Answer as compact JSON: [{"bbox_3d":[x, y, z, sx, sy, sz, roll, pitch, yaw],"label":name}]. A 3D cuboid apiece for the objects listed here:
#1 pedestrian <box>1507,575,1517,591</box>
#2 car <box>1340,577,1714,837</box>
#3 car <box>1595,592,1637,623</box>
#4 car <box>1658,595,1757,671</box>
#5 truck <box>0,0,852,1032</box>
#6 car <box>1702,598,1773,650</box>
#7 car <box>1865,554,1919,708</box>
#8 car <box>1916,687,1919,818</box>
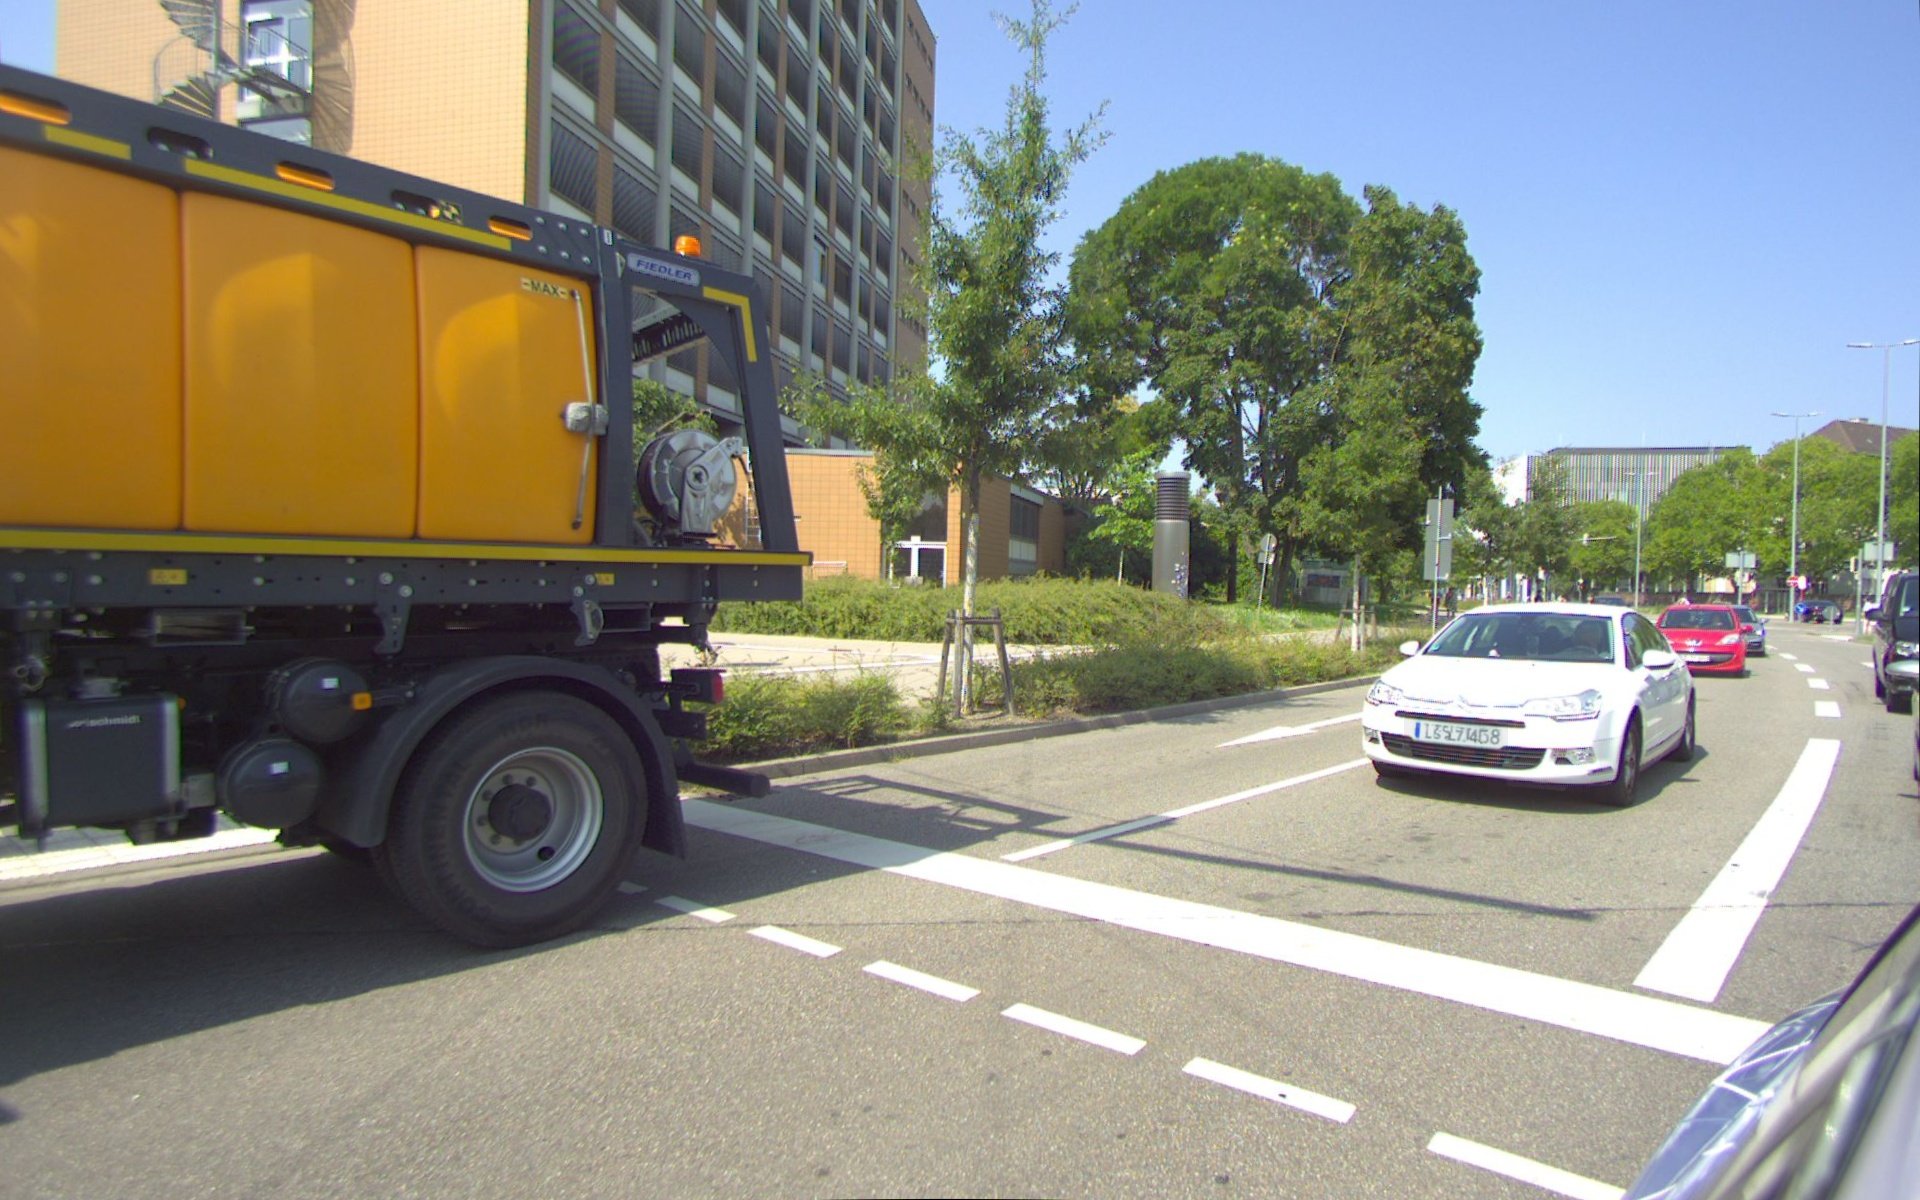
[{"bbox_3d":[63.833,-2.015,117.095,0.959,1.807,1.107,2,1,27],"label":"pedestrian"},{"bbox_3d":[5.039,0.652,8.647,1.766,1.639,4.531,0,0,43],"label":"car"},{"bbox_3d":[32.739,0.343,50.476,1.607,1.440,3.560,2,1,36],"label":"car"},{"bbox_3d":[15.714,0.641,21.228,1.510,1.426,3.311,2,1,39],"label":"car"},{"bbox_3d":[-4.139,-0.355,3.905,7.073,3.270,3.034,1,0,-45],"label":"truck"},{"bbox_3d":[22.027,0.637,28.619,1.510,1.355,3.458,0,0,39],"label":"car"},{"bbox_3d":[14.288,0.416,14.189,4.802,1.955,1.897,0,1,-43],"label":"car"},{"bbox_3d":[8.009,0.554,6.974,4.286,1.615,1.690,0,1,-42],"label":"car"}]
